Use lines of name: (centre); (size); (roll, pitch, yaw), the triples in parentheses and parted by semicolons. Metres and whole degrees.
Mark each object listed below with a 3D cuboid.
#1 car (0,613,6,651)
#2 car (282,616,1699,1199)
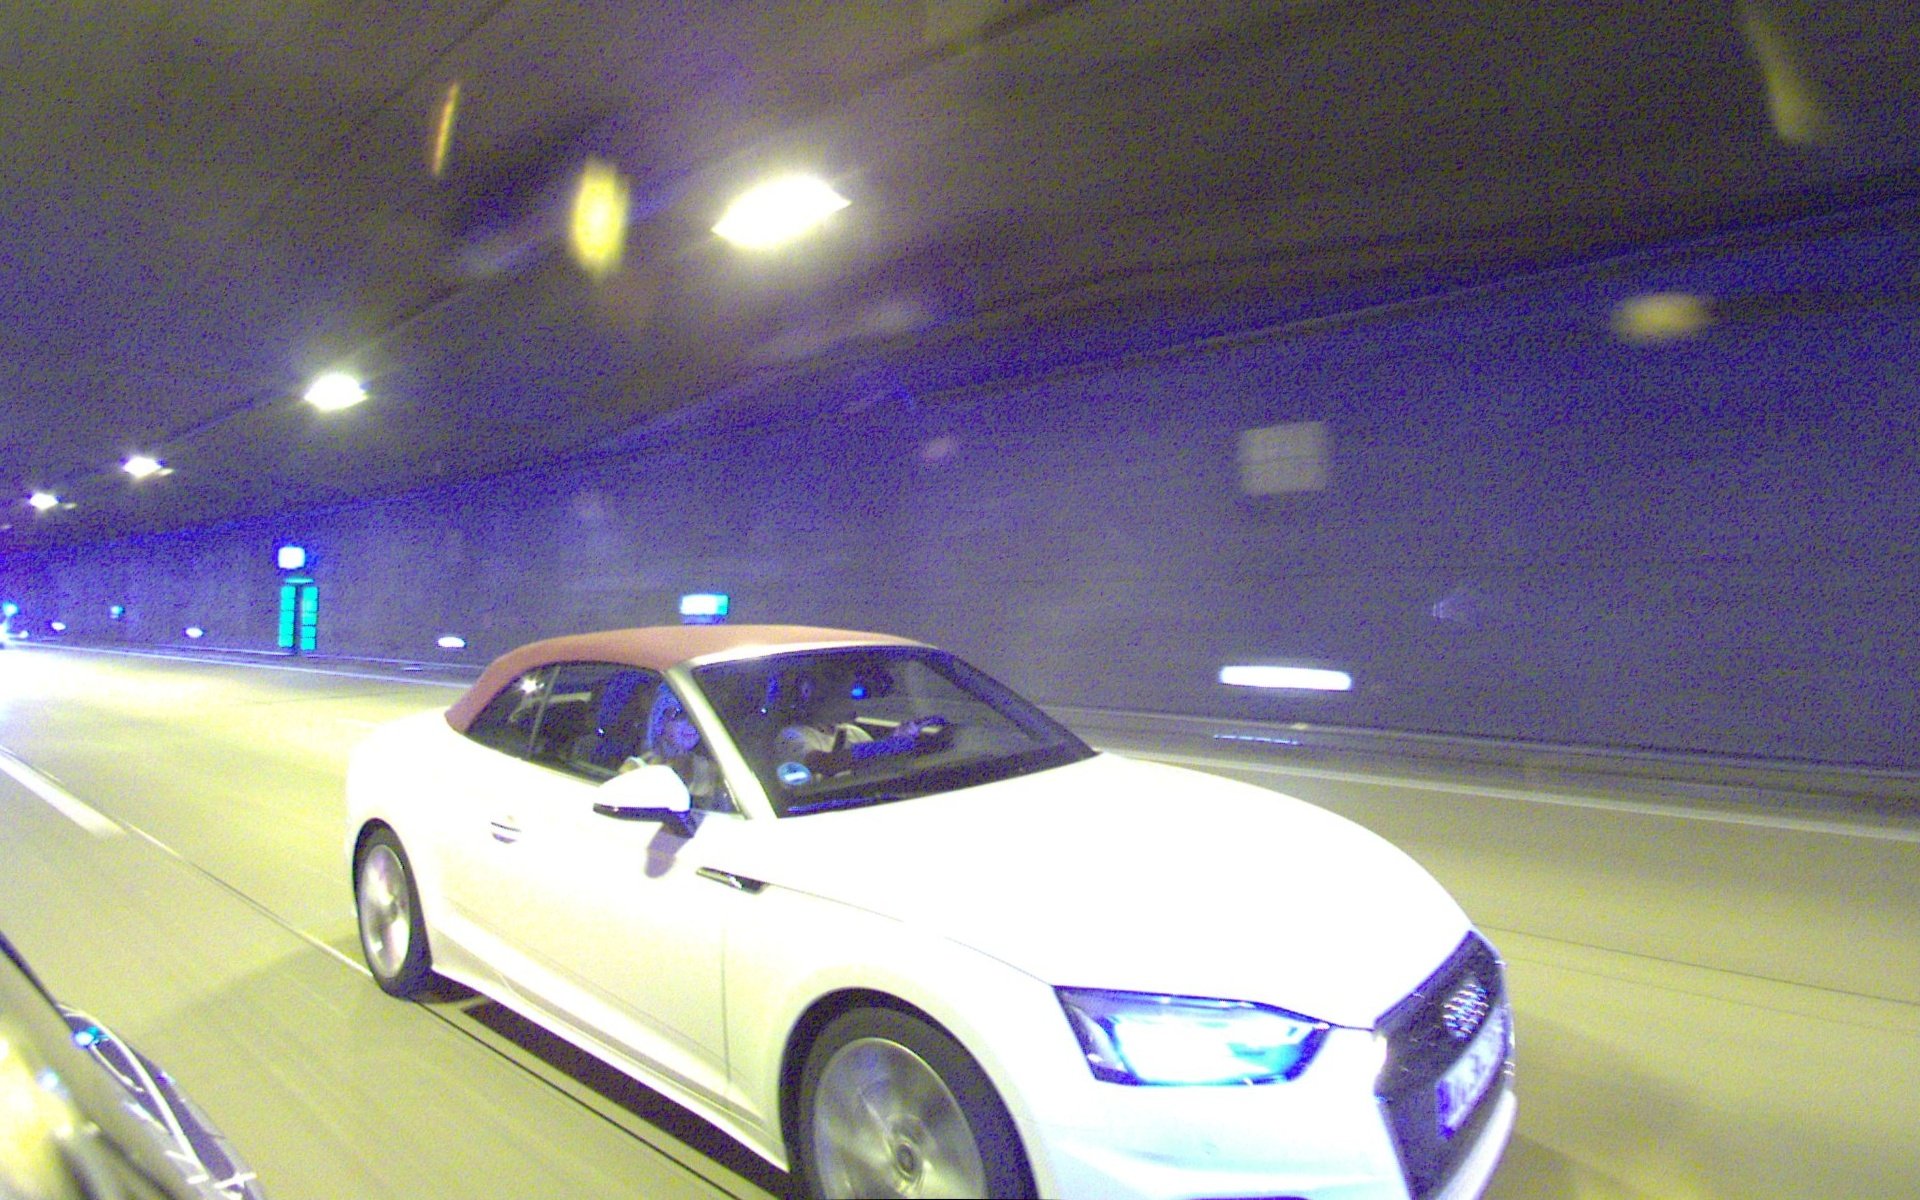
car: (-38.560, 1.245, 39.223); (3.994, 1.466, 1.718); (-1, -1, 38)
car: (-0.629, 0.796, 3.528); (5.059, 1.429, 1.684); (0, -1, 42)
